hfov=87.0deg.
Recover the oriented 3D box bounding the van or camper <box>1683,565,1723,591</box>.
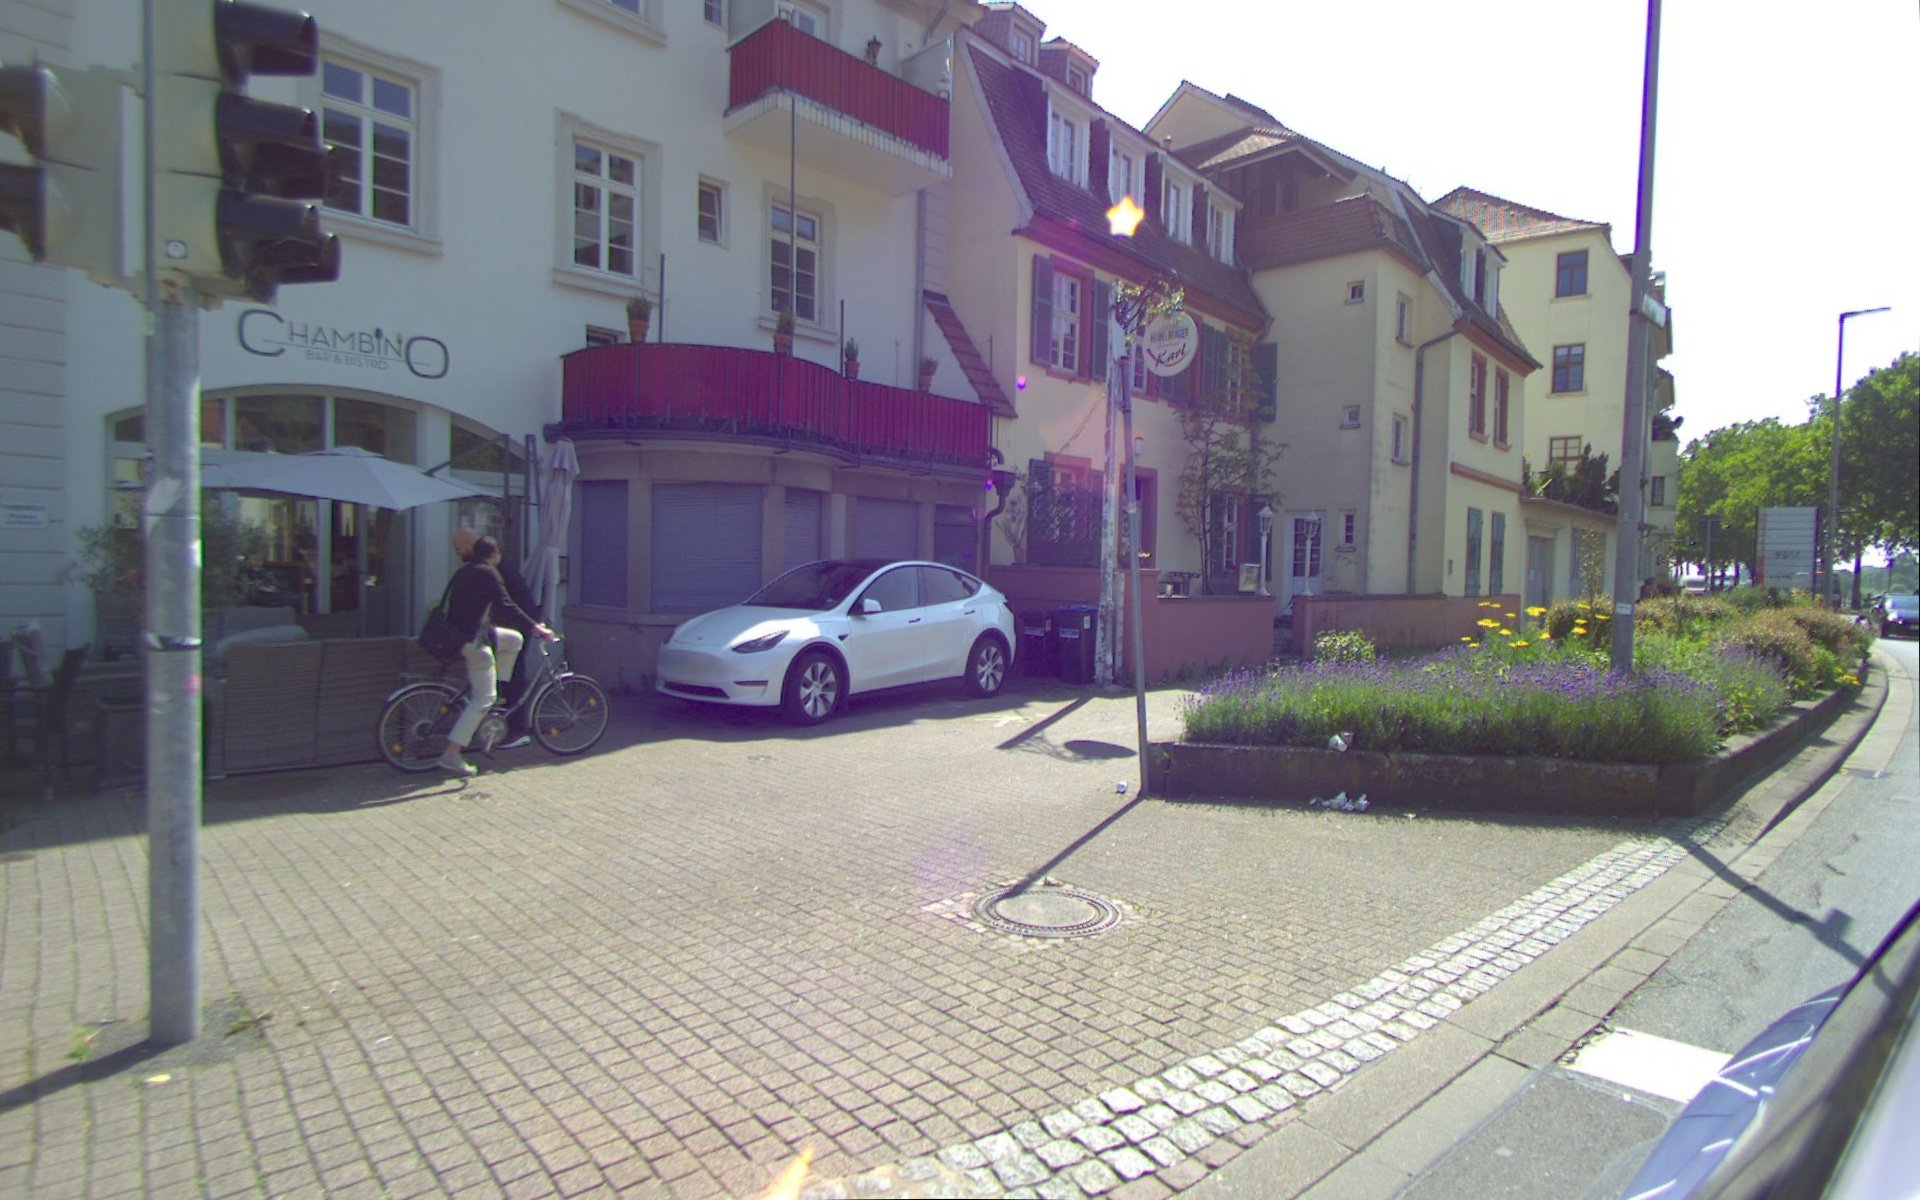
[{"bbox_3d":[71.490,-2.122,97.458,2.419,2.312,6.139,3,3,30],"label":"van or camper"}]

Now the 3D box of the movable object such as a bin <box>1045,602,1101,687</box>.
[{"bbox_3d":[1.516,0.582,13.586,0.358,1.080,0.642,0,2,-42],"label":"movable object such as a bin"}]

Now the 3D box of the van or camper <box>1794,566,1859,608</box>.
[{"bbox_3d":[56.806,-0.904,66.493,2.078,2.588,7.012,2,2,32],"label":"van or camper"}]

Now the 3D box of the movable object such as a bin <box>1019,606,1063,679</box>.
[{"bbox_3d":[1.121,0.580,14.030,0.315,0.955,0.496,0,2,-42],"label":"movable object such as a bin"}]

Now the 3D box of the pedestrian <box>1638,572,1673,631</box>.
[{"bbox_3d":[21.160,0.027,30.800,0.737,1.719,0.920,4,3,39],"label":"pedestrian"}]

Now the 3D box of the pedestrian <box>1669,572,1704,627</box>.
[{"bbox_3d":[21.746,-0.023,30.294,0.760,1.615,0.686,2,2,39],"label":"pedestrian"}]

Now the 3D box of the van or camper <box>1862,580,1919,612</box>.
[{"bbox_3d":[47.492,-0.215,51.227,1.987,1.472,4.628,5,4,33],"label":"van or camper"}]

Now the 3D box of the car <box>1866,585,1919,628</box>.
[{"bbox_3d":[34.331,0.212,36.710,1.867,1.442,4.679,2,2,38],"label":"car"}]

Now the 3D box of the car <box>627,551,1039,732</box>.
[{"bbox_3d":[-1.181,0.303,11.409,1.874,1.597,4.663,2,2,38],"label":"car"}]

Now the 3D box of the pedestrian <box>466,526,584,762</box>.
[{"bbox_3d":[-3.709,0.339,8.618,0.761,1.880,0.601,5,3,39],"label":"pedestrian"}]

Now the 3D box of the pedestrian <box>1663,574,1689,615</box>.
[{"bbox_3d":[31.437,-0.235,44.429,0.759,1.734,0.687,6,4,34],"label":"pedestrian"}]

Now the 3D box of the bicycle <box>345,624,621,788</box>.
[{"bbox_3d":[-3.522,0.721,7.620,0.747,0.976,1.761,2,2,34],"label":"bicycle"}]

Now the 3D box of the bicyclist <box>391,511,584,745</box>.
[{"bbox_3d":[-3.529,0.166,7.604,0.763,1.603,1.076,2,2,33],"label":"bicyclist"}]
